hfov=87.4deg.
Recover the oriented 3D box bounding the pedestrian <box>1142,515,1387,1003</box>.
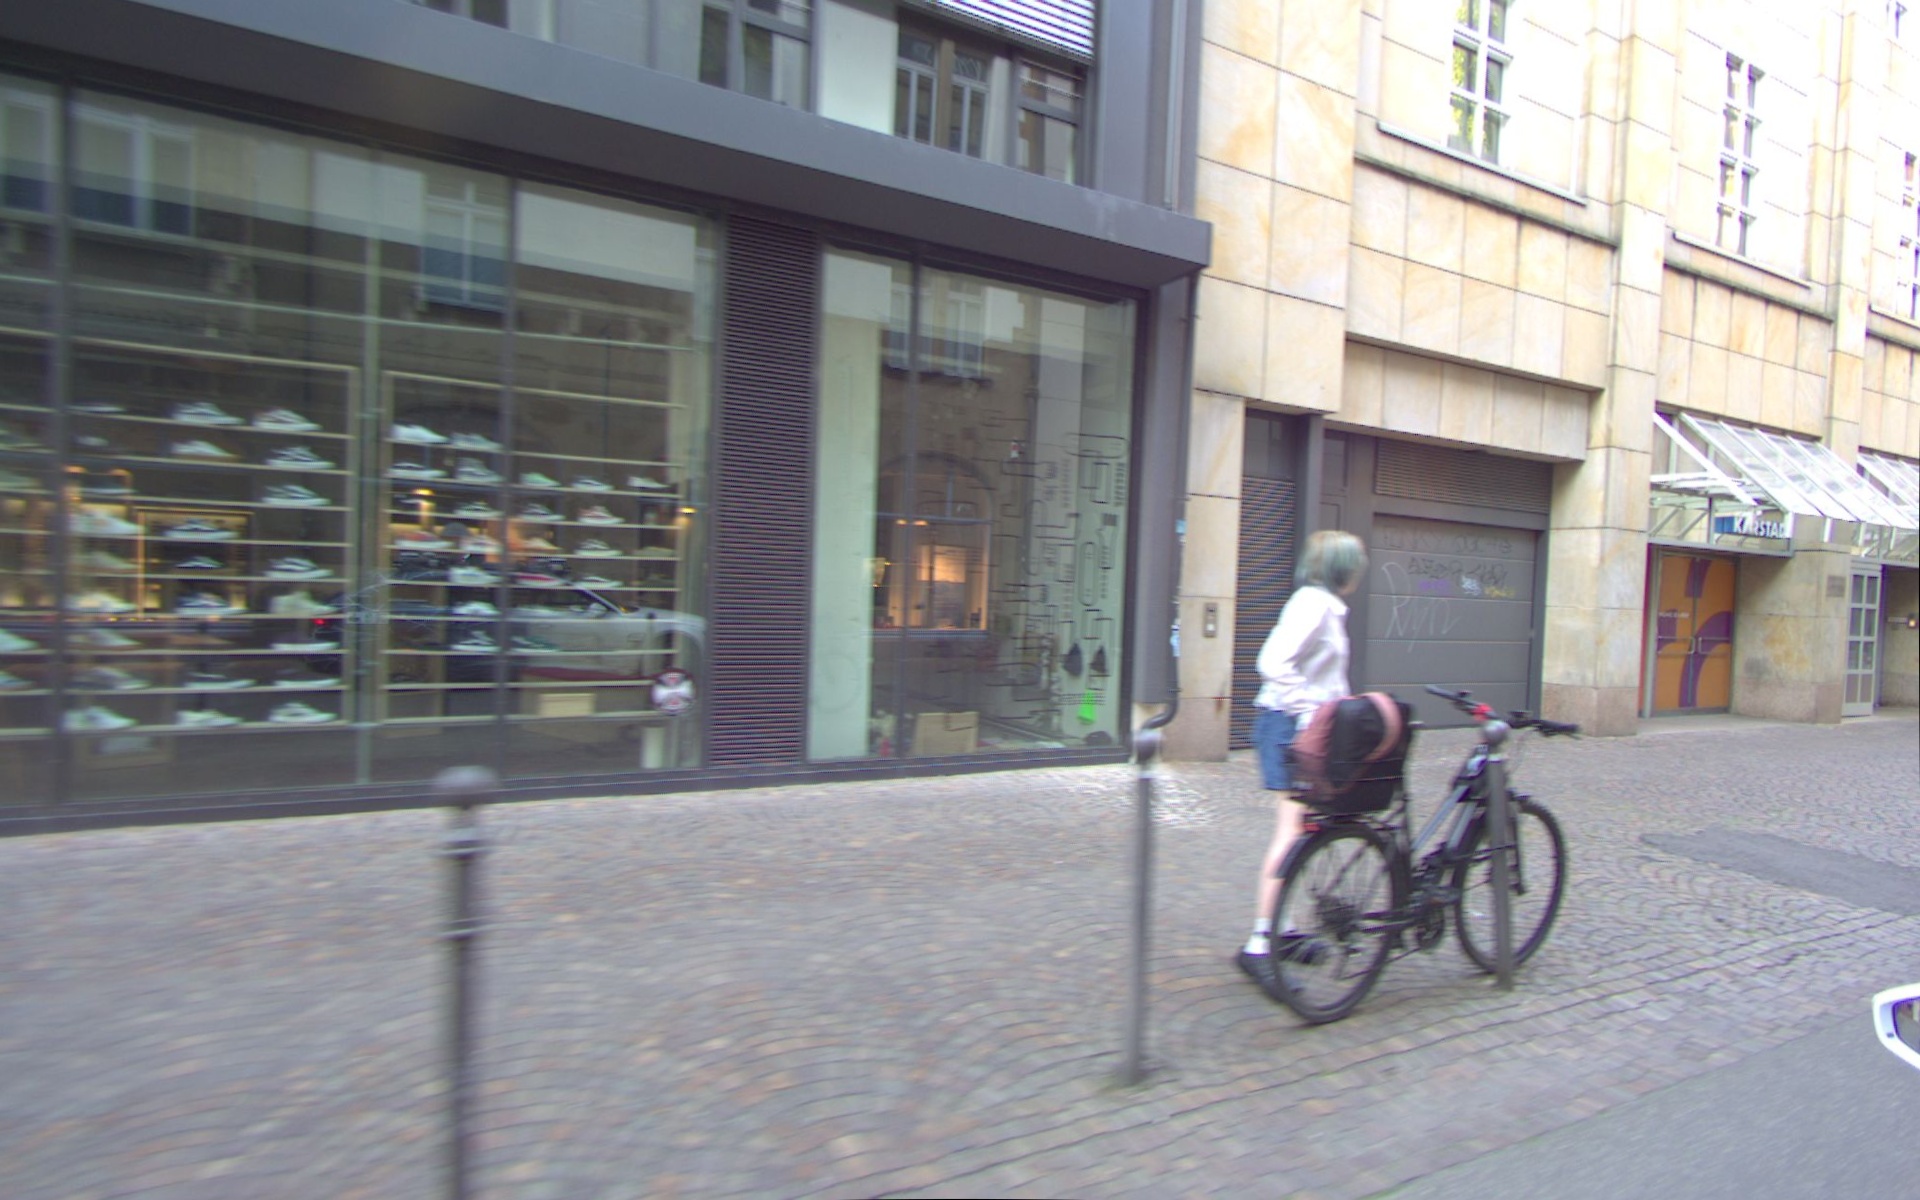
[{"bbox_3d":[1.226,0.559,4.023,0.756,1.742,0.591,4,3,27],"label":"pedestrian"}]

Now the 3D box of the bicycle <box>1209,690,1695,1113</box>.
[{"bbox_3d":[1.845,0.965,3.676,1.891,1.169,0.530,1,3,-28],"label":"bicycle"}]
